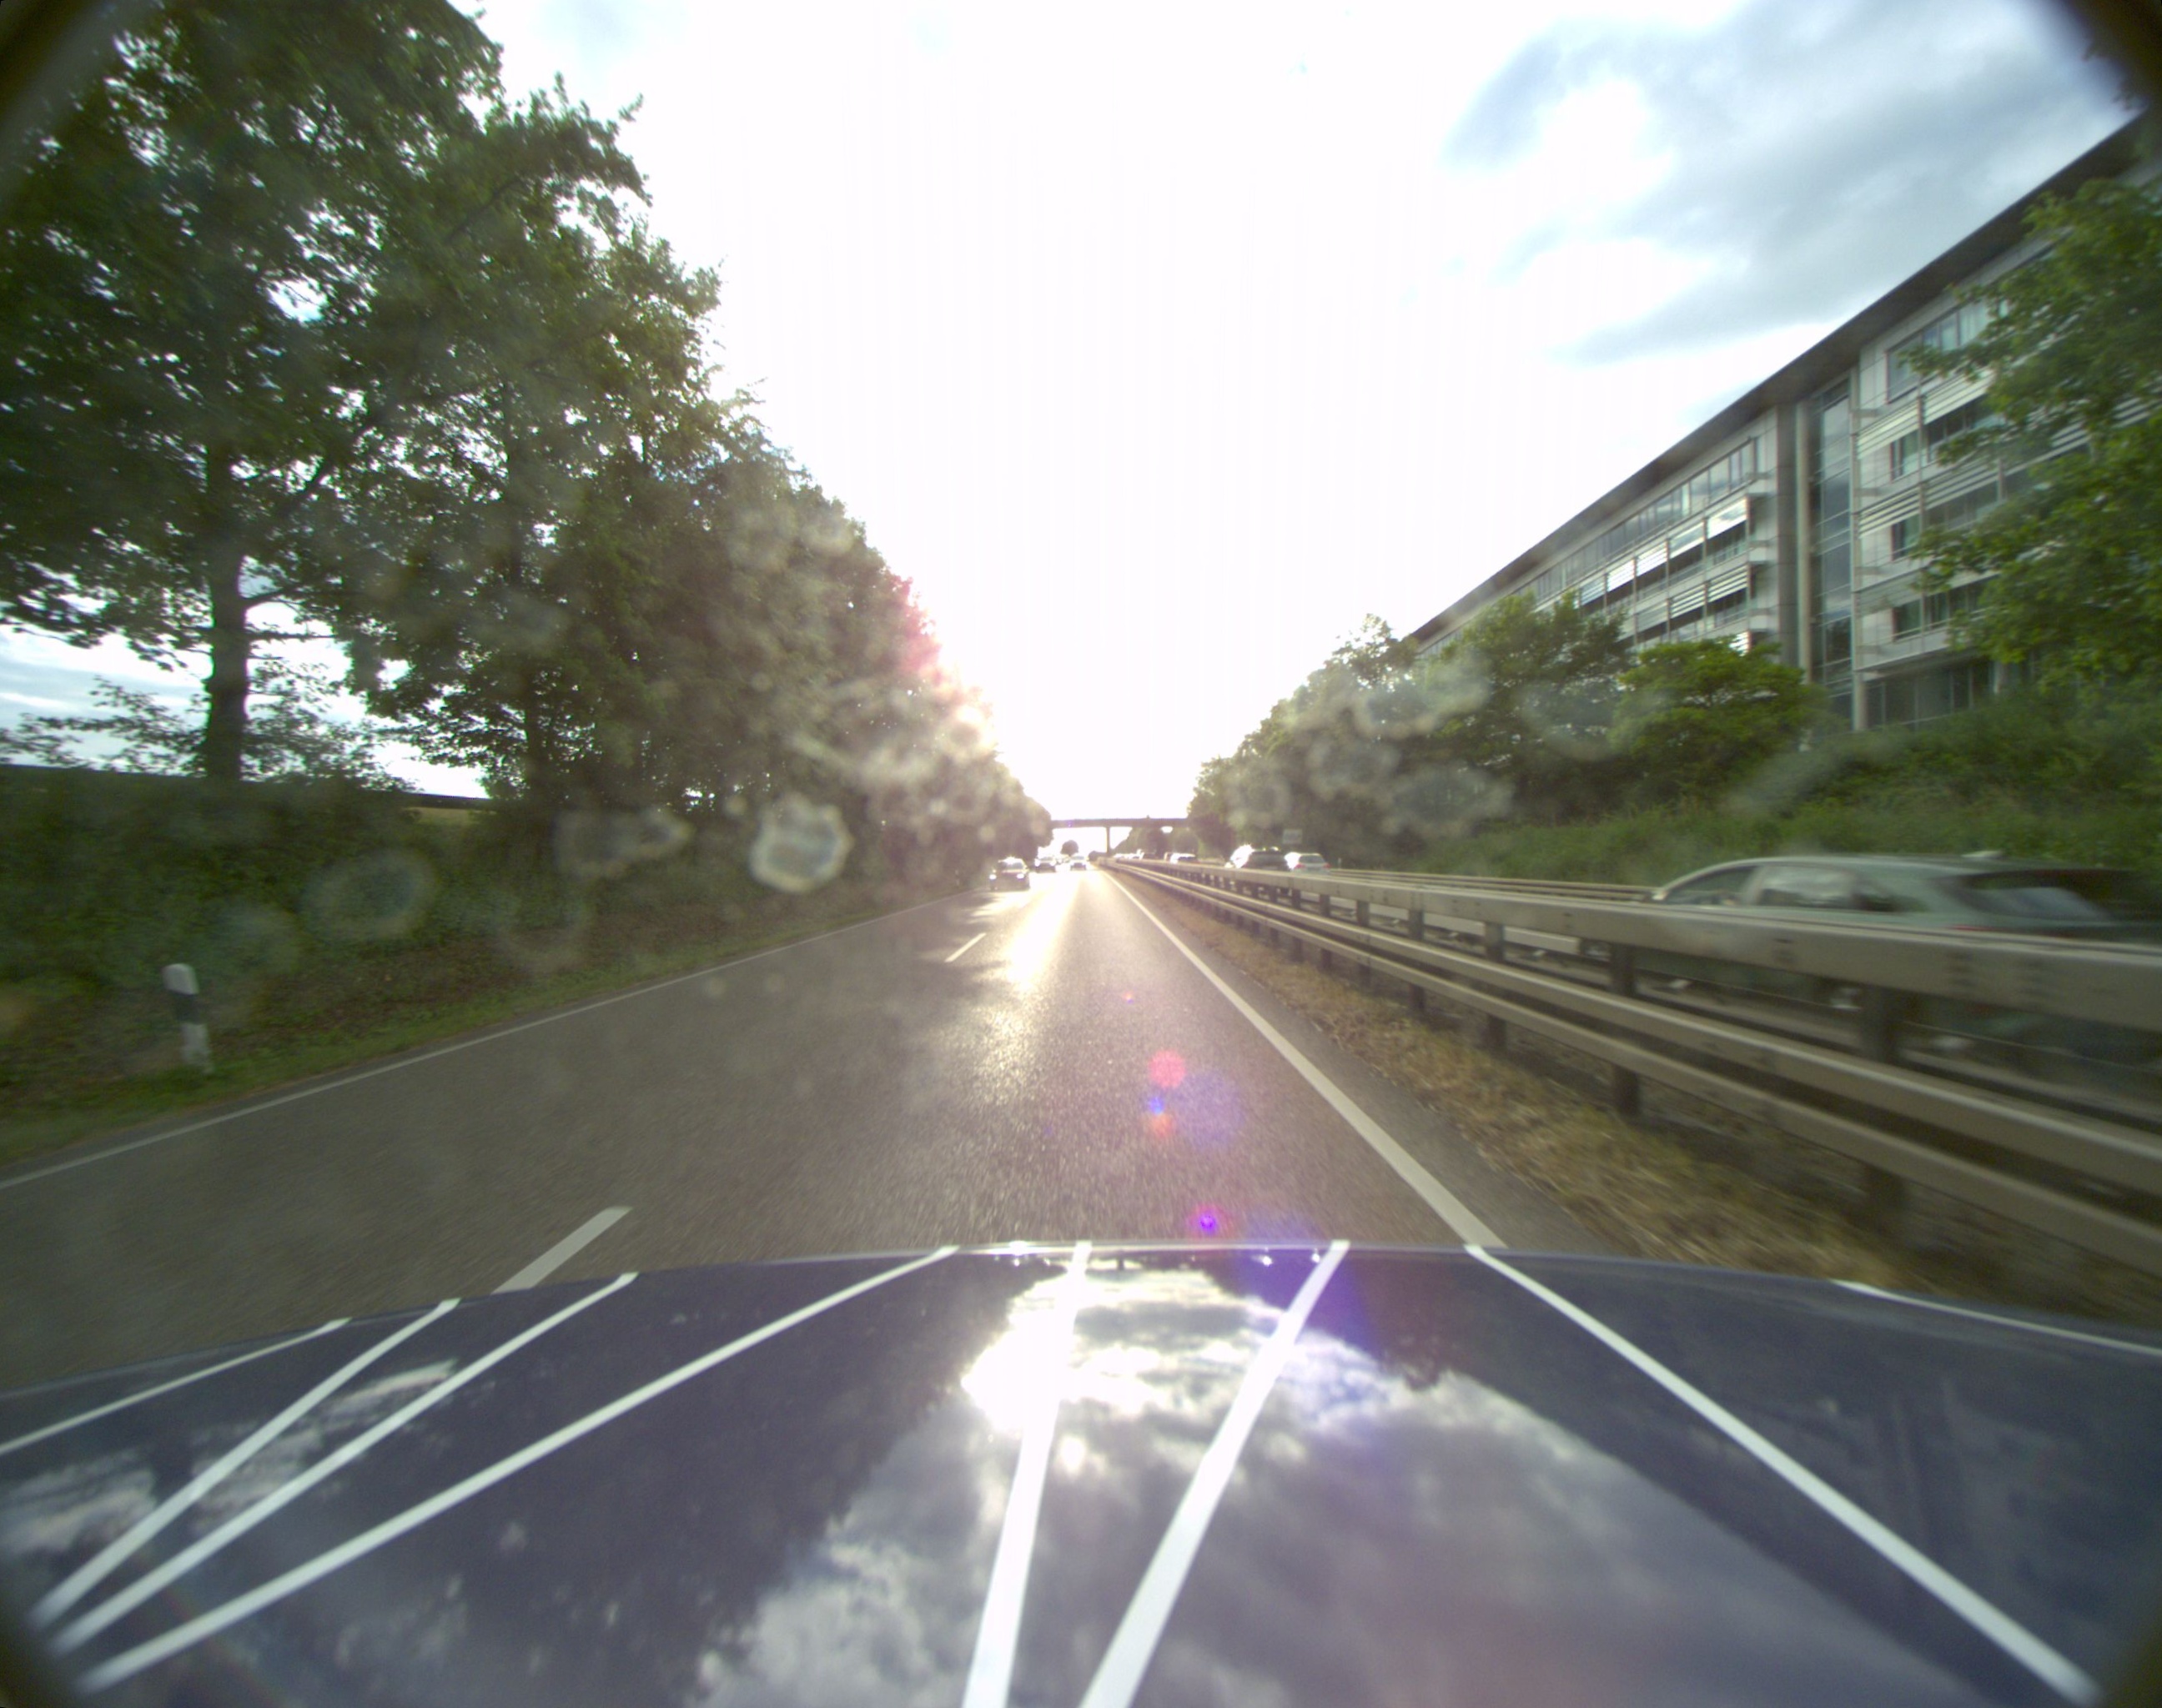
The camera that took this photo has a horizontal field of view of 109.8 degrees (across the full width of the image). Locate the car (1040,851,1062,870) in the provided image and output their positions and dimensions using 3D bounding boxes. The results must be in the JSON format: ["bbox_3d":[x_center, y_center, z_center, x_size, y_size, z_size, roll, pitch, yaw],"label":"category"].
[{"bbox_3d":[-2.828,0.629,71.316,1.723,1.657,4.419,-3,-1,1],"label":"car"}]

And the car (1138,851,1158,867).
[{"bbox_3d":[7.246,0.521,82.460,1.825,1.575,4.316,-1,0,1],"label":"car"}]

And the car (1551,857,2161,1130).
[{"bbox_3d":[6.136,0.779,6.322,1.747,1.449,4.311,1,1,0],"label":"car"}]

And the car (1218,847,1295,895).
[{"bbox_3d":[6.549,0.590,28.902,1.747,1.635,5.279,-1,0,1],"label":"car"}]

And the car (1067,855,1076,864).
[{"bbox_3d":[-2.305,1.275,186.132,1.998,2.002,4.000,-3,0,1],"label":"car"}]

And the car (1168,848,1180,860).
[{"bbox_3d":[15.219,-0.052,124.650,1.871,1.844,4.624,-1,0,5],"label":"car"}]

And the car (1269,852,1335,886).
[{"bbox_3d":[10.343,0.656,35.923,1.821,1.476,4.417,1,0,0],"label":"car"}]

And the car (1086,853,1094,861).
[{"bbox_3d":[2.325,0.710,205.912,1.998,2.002,4.000,-3,0,0],"label":"car"}]

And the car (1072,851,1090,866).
[{"bbox_3d":[-0.001,0.490,82.040,1.723,1.493,4.420,-3,-1,2],"label":"car"}]

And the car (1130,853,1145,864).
[{"bbox_3d":[7.356,0.604,99.690,1.680,1.344,3.831,-1,0,0],"label":"car"}]

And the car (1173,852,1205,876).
[{"bbox_3d":[7.100,0.628,50.322,1.595,1.439,3.999,-1,1,0],"label":"car"}]

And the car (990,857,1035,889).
[{"bbox_3d":[-3.368,0.911,37.804,1.723,1.467,3.729,-1,0,3],"label":"car"}]

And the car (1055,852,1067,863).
[{"bbox_3d":[-3.157,0.503,121.369,1.723,1.657,4.419,-3,-1,1],"label":"car"}]

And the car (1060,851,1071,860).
[{"bbox_3d":[-3.060,0.395,151.291,1.948,1.652,4.001,-3,-1,1],"label":"car"}]

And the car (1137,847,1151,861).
[{"bbox_3d":[12.216,-0.044,147.819,2.255,2.522,6.940,-2,0,1],"label":"car"}]
